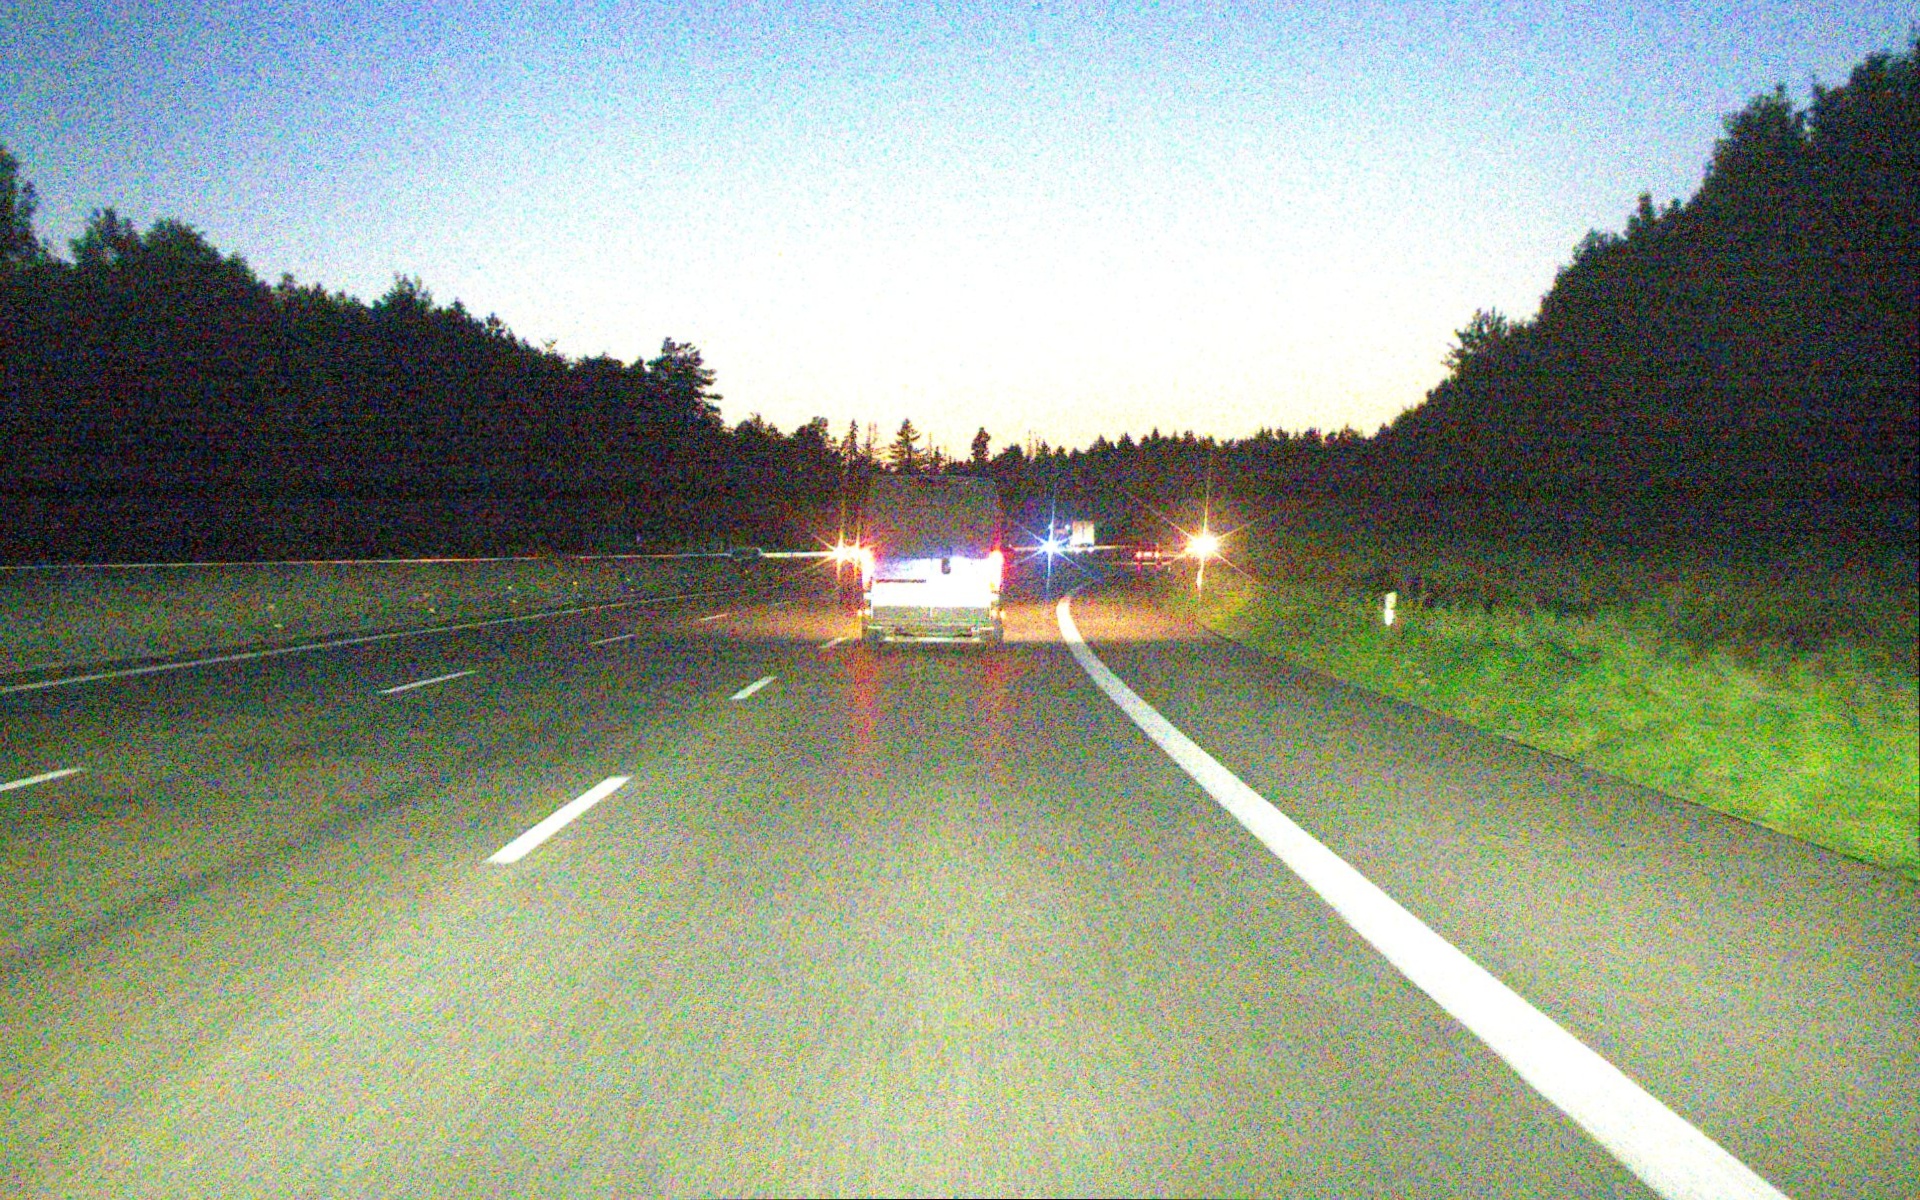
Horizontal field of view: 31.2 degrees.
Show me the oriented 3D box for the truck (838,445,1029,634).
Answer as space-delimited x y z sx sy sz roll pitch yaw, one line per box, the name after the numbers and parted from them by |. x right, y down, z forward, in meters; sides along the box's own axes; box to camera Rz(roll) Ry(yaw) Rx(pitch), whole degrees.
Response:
-0.345 -0.879 52.081 2.630 2.615 8.685 0 1 0 | truck
